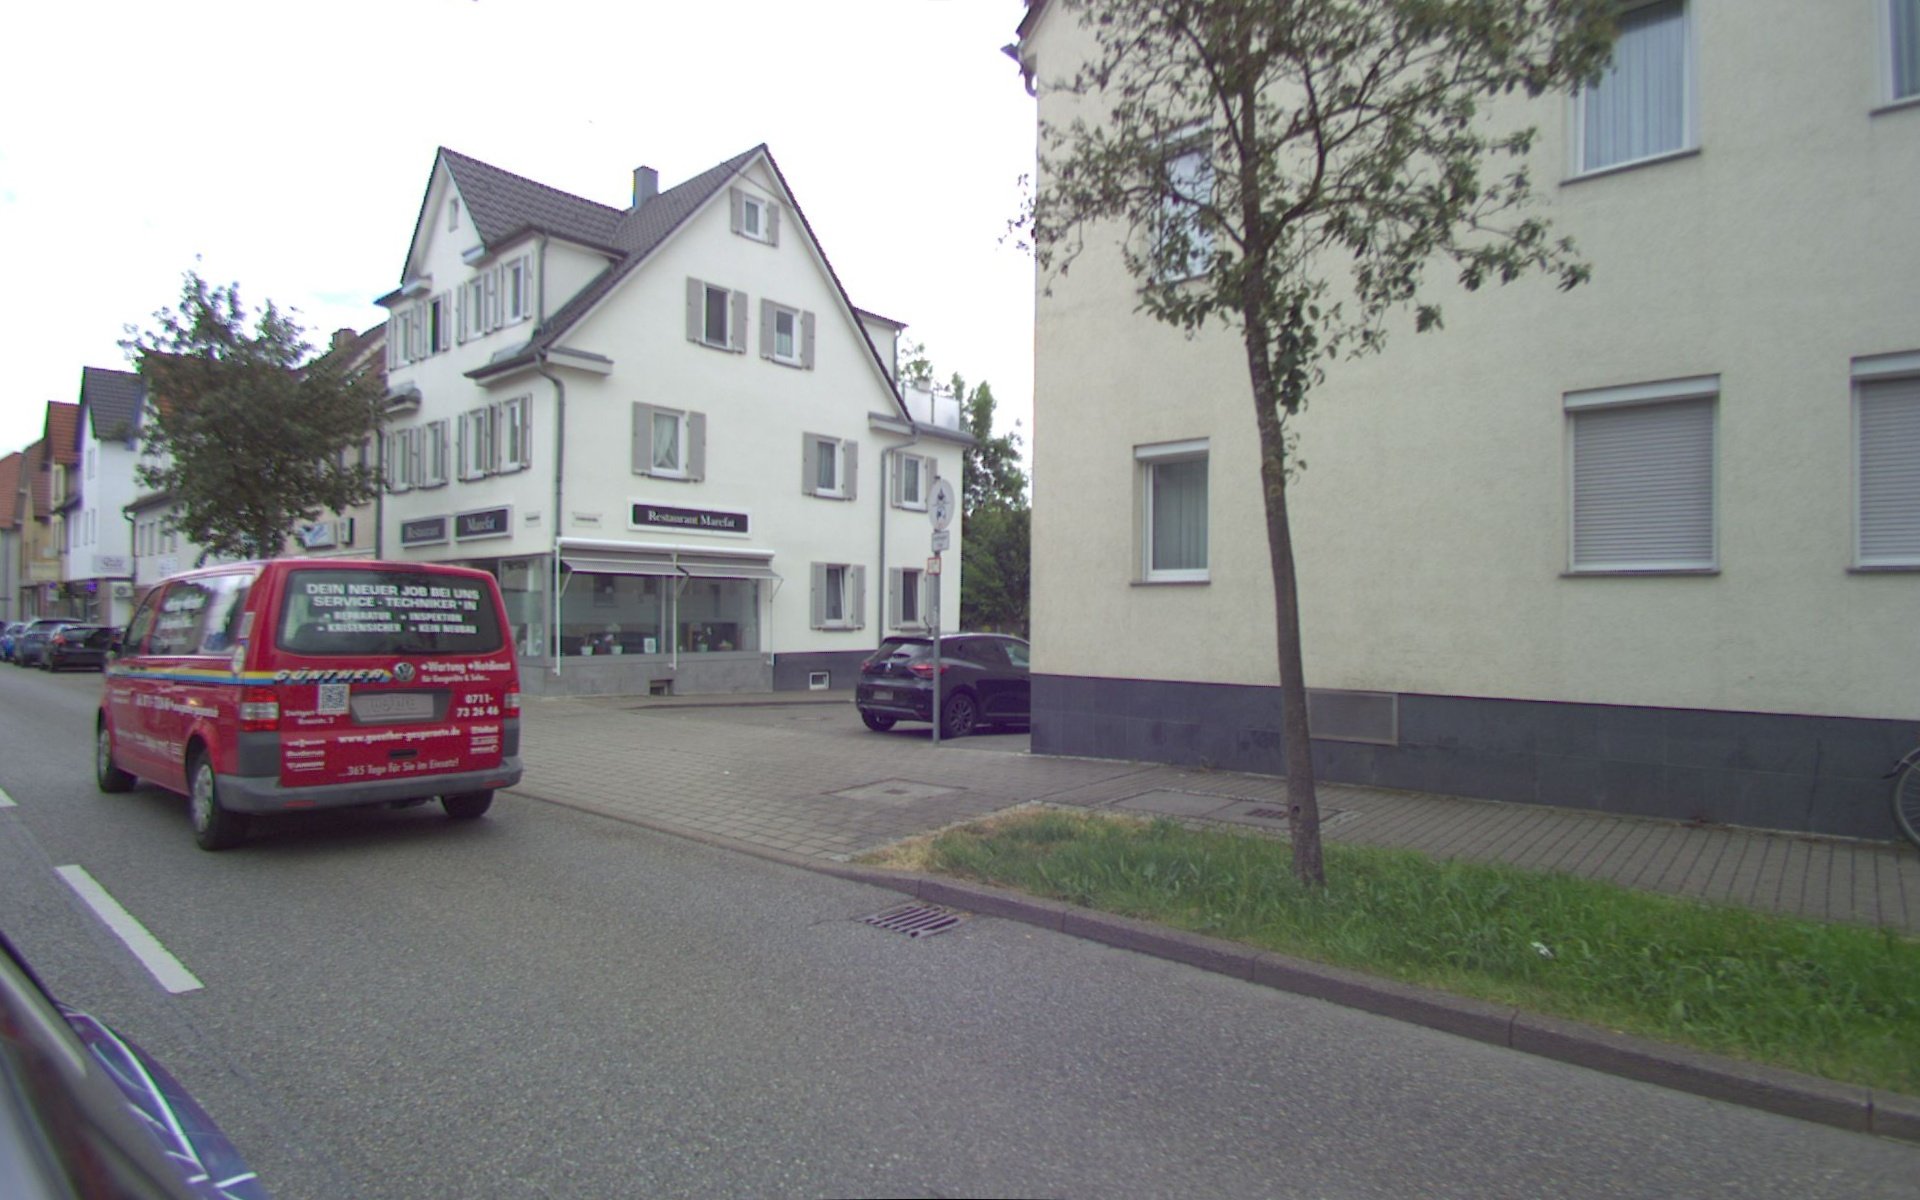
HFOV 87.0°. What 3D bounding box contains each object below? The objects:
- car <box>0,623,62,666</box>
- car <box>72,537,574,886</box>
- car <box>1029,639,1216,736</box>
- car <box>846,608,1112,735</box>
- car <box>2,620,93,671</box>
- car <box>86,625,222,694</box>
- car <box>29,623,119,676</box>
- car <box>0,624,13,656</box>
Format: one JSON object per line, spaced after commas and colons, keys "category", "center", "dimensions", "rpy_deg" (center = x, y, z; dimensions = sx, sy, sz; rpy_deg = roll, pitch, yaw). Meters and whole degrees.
{"category": "car", "center": [-35.121, 1.655, 37.991], "dimensions": [3.774, 1.511, 1.664], "rpy_deg": [-1, -3, 42]}
{"category": "car", "center": [-5.393, 0.707, 8.201], "dimensions": [5.219, 1.977, 1.928], "rpy_deg": [-1, -4, 41]}
{"category": "car", "center": [2.949, 1.513, 17.828], "dimensions": [1.668, 1.497, 3.666], "rpy_deg": [-1, -5, 38]}
{"category": "car", "center": [0.415, 1.086, 14.473], "dimensions": [1.733, 1.546, 3.948], "rpy_deg": [-1, -6, 38]}
{"category": "car", "center": [-30.758, 1.499, 34.074], "dimensions": [4.303, 1.611, 1.784], "rpy_deg": [-1, -3, 42]}
{"category": "car", "center": [-19.022, 1.358, 23.838], "dimensions": [4.016, 1.458, 1.665], "rpy_deg": [-1, -3, 39]}
{"category": "car", "center": [-27.069, 1.492, 30.894], "dimensions": [3.811, 1.519, 1.565], "rpy_deg": [-1, -4, 42]}
{"category": "car", "center": [-47.164, 1.907, 48.917], "dimensions": [3.590, 1.504, 1.664], "rpy_deg": [-1, -3, 42]}
